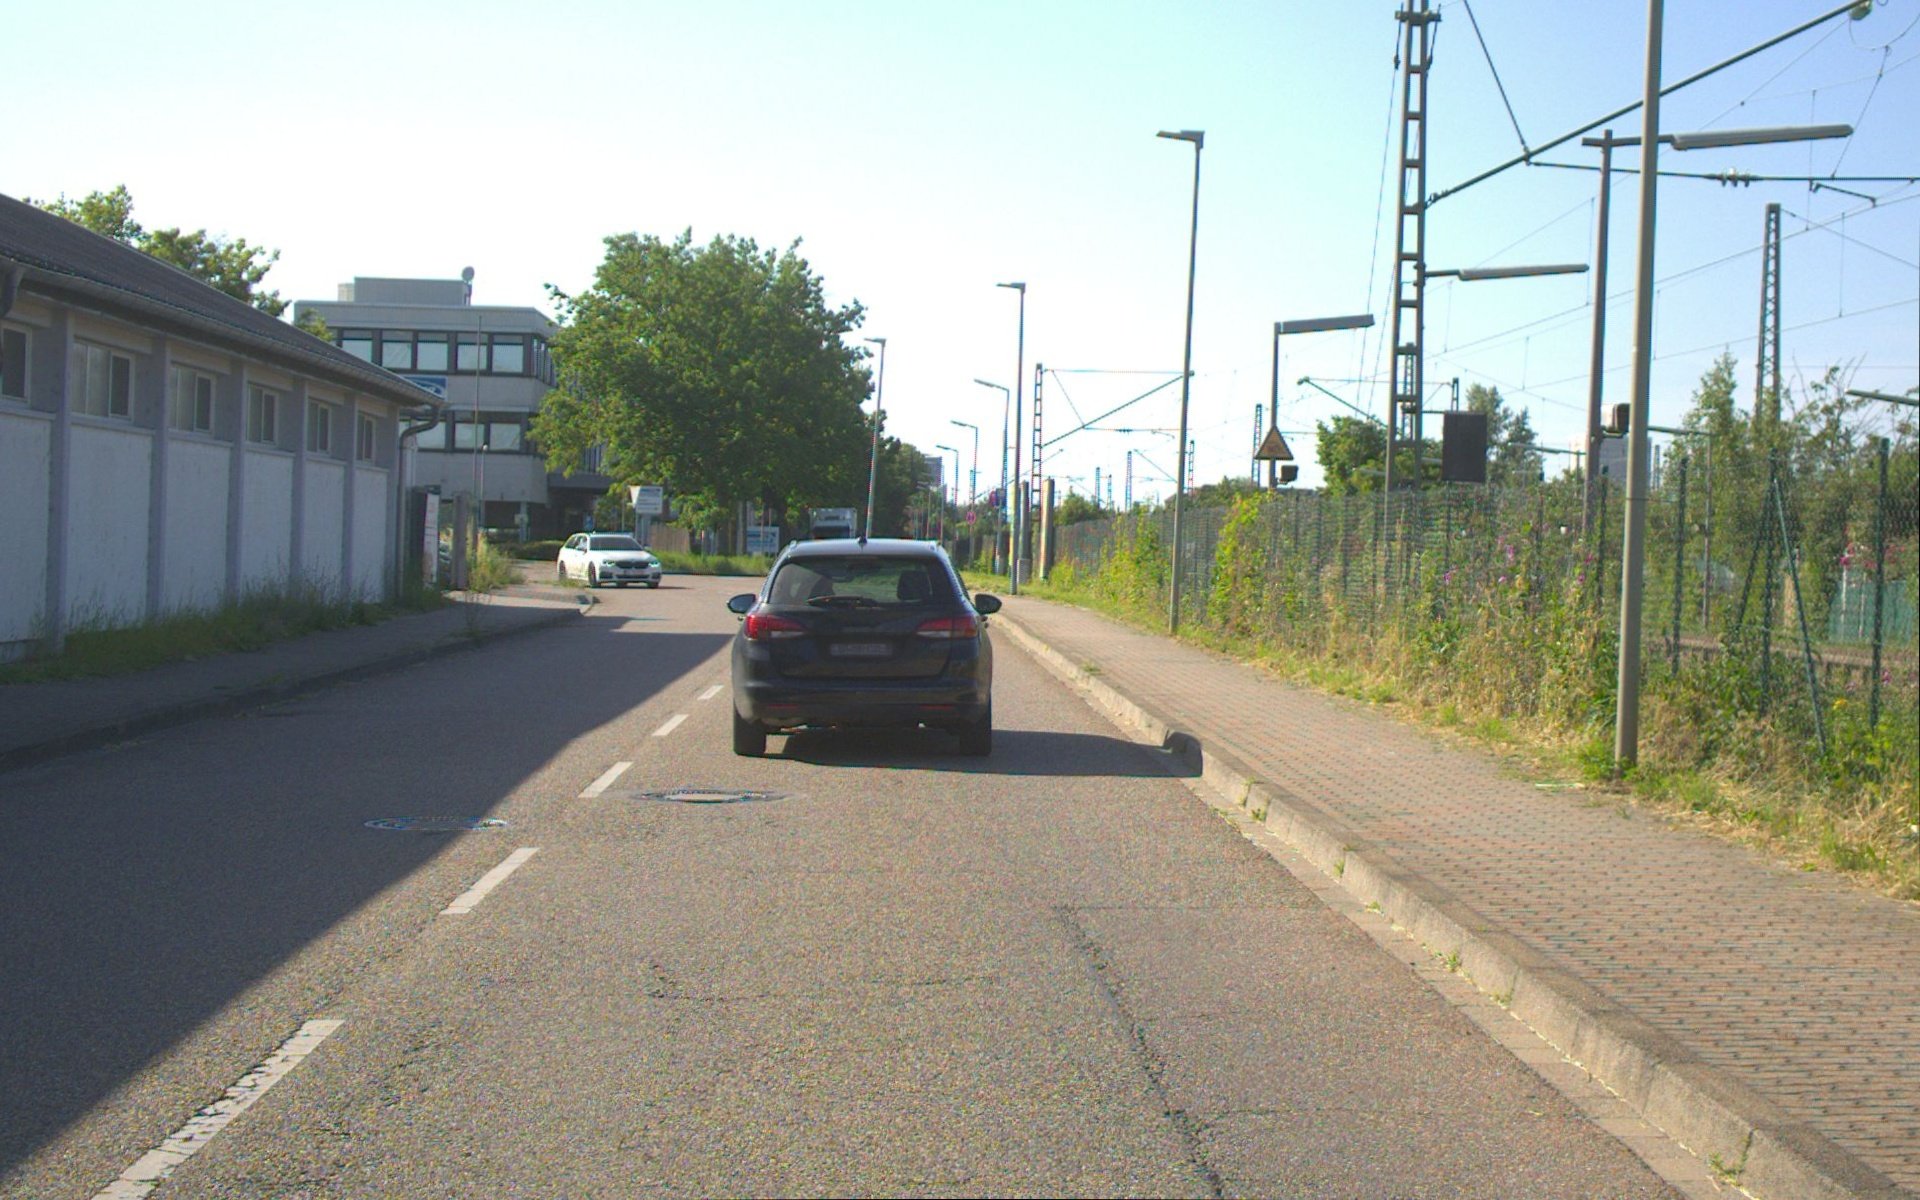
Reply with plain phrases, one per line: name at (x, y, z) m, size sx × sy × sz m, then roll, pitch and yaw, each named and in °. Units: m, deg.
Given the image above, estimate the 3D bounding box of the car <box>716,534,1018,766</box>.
car at (-0.661, 0.290, 24.526) m, size 1.942 × 1.483 × 4.566 m, roll 1°, pitch 1°, yaw -1°

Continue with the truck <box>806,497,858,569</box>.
truck at (-7.332, -3.783, 195.807) m, size 2.613 × 3.872 × 13.534 m, roll 3°, pitch 1°, yaw -3°

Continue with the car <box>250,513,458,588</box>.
car at (-13.285, -1.088, 75.336) m, size 4.388 × 1.501 × 1.841 m, roll 2°, pitch 1°, yaw -11°
